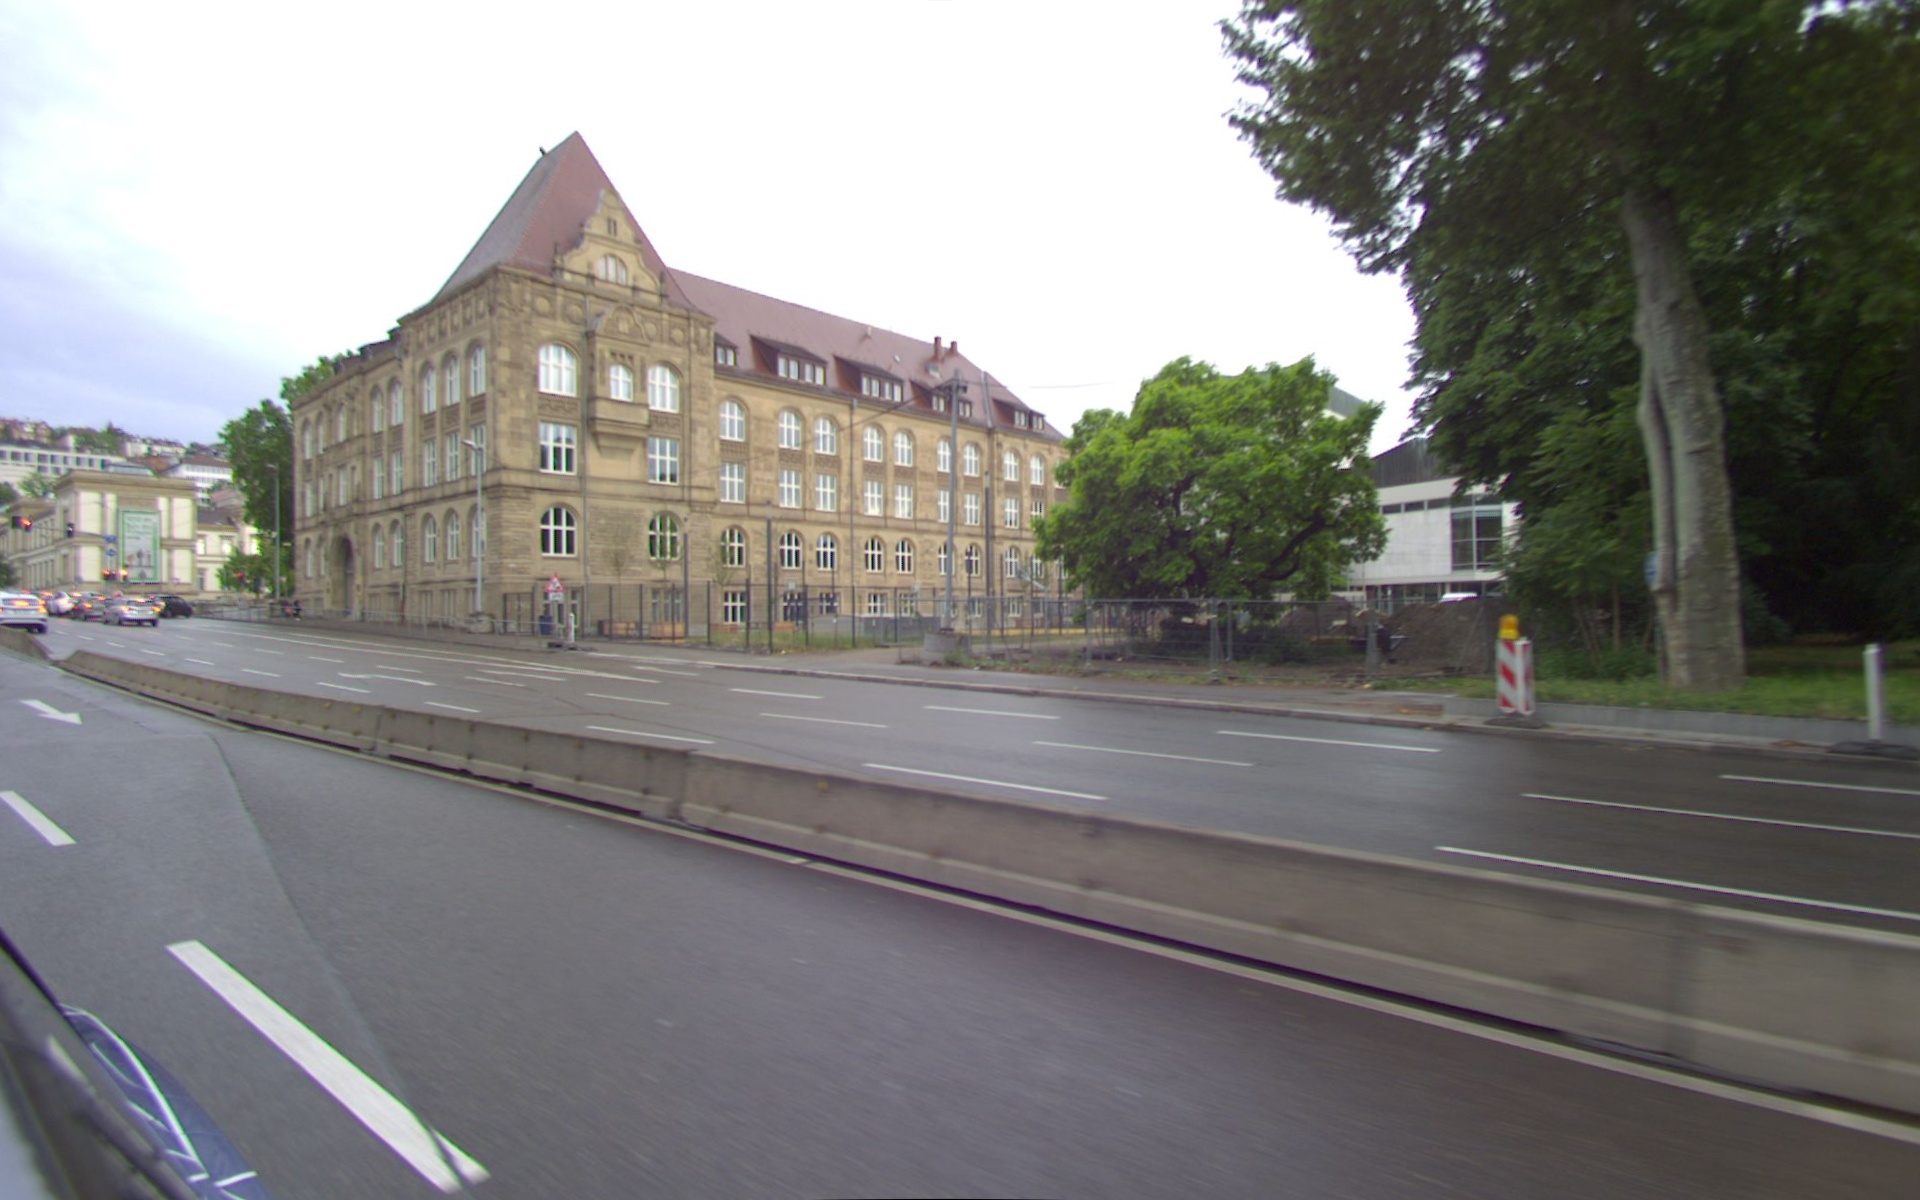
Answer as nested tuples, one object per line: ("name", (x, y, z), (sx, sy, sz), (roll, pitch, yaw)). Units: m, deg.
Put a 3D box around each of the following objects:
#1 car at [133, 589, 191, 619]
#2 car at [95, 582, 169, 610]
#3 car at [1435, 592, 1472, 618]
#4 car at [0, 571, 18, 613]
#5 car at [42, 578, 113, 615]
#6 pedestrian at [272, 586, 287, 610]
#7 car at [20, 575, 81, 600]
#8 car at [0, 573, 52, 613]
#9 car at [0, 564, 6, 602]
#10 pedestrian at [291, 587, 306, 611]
("car", (-56.577, 0.276, 71.733), (3.988, 2.029, 1.978), (1, -2, 33))
("car", (-44.624, -0.227, 54.543), (4.202, 1.393, 1.976), (1, -2, 35))
("car", (36.111, 0.323, 73.962), (1.714, 1.806, 3.951), (1, 1, 36))
("car", (-45.598, -0.406, 47.125), (4.374, 1.880, 1.890), (1, -2, 39))
("car", (-51.243, -0.207, 58.749), (3.988, 2.029, 1.978), (1, -2, 33))
("pedestrian", (-46.550, -0.141, 69.250), (0.734, 1.596, 0.610), (1, -2, 41))
("car", (-56.658, -0.778, 63.007), (4.204, 1.393, 1.975), (1, -2, 37))
("car", (-40.296, -0.310, 42.918), (4.893, 1.579, 1.875), (1, -2, 39))
("car", (-50.576, -0.908, 51.636), (5.589, 1.880, 1.974), (1, -2, 39))
("pedestrian", (-45.729, -0.080, 69.961), (0.733, 1.596, 0.611), (1, -2, 33))
